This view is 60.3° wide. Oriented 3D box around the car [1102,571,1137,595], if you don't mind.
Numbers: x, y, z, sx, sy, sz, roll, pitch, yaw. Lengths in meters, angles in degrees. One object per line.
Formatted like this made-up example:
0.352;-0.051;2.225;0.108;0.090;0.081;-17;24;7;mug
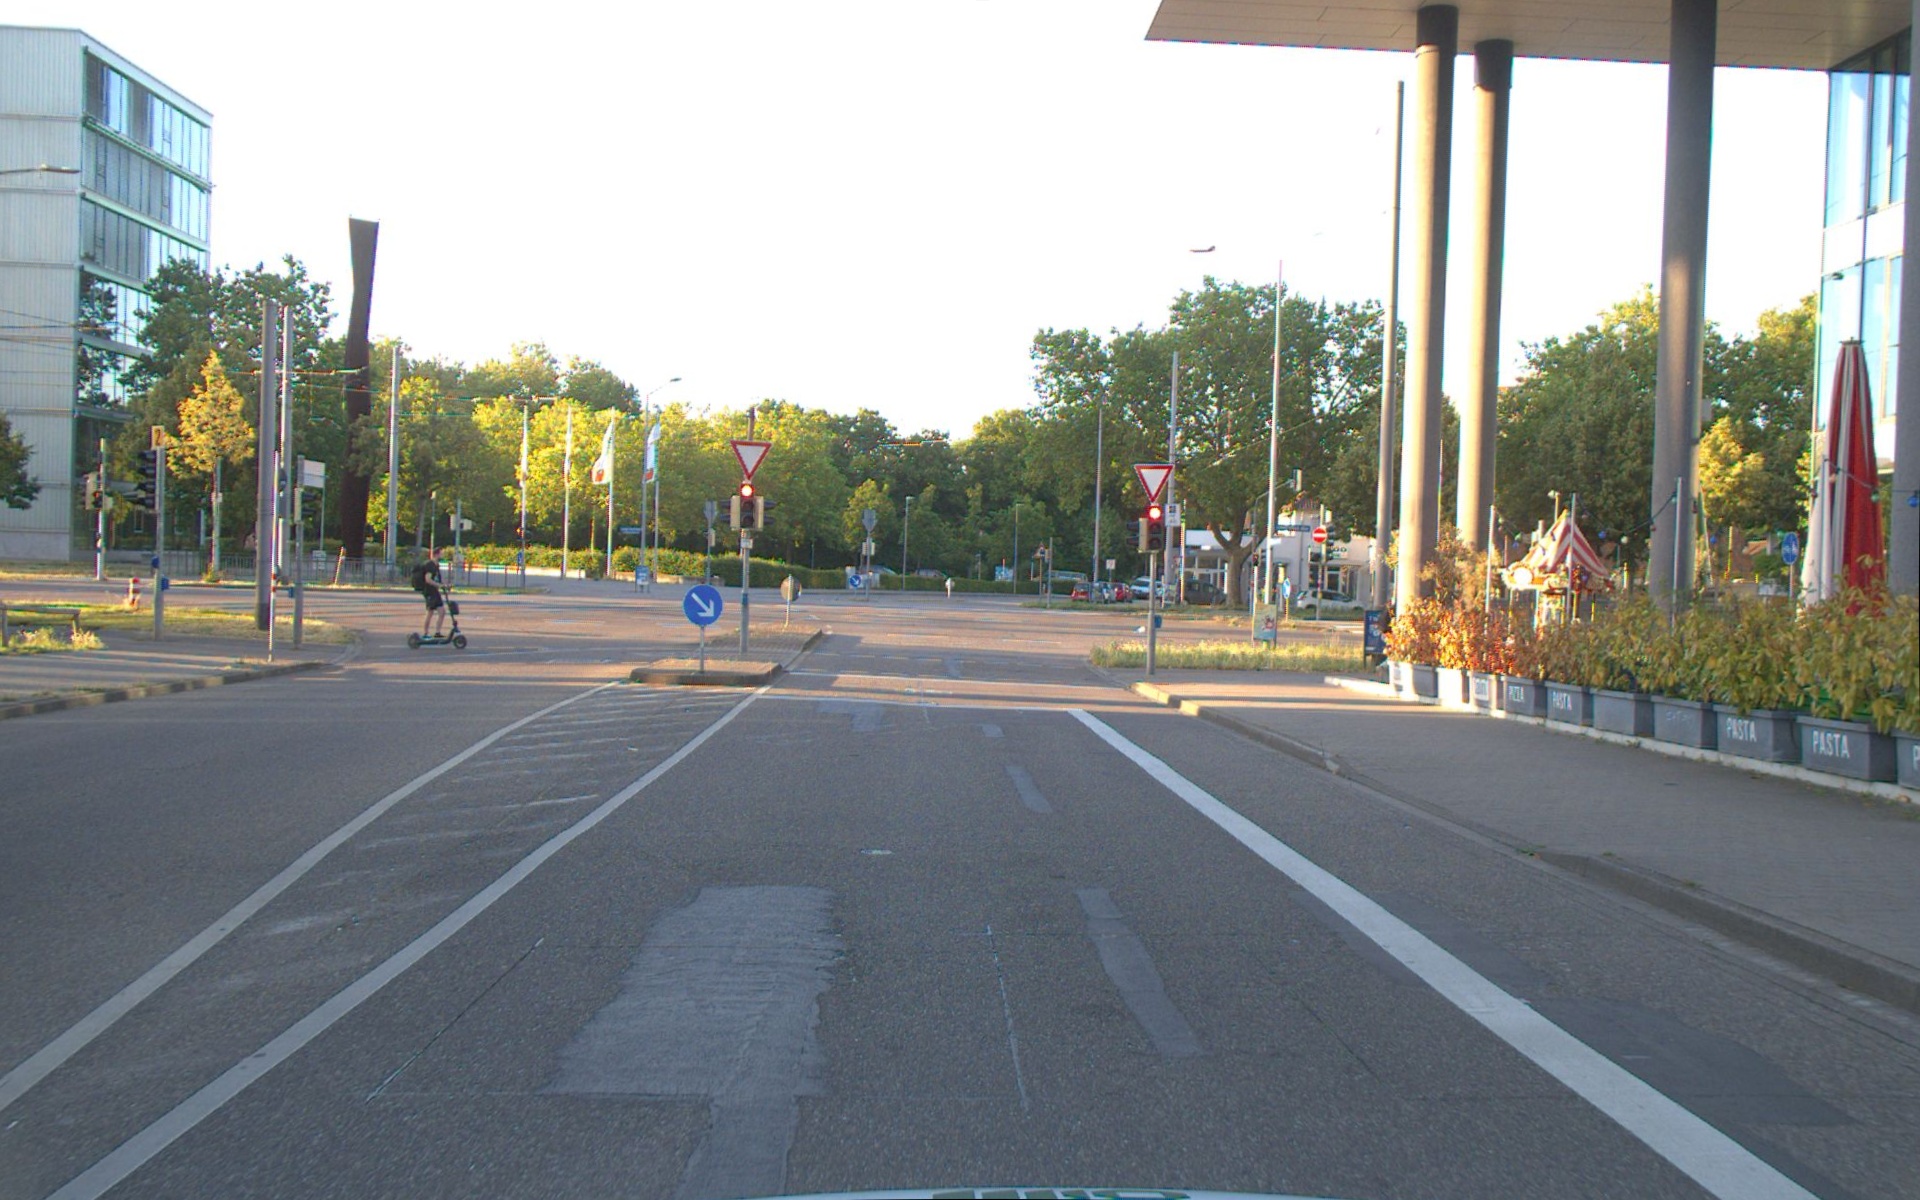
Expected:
11.597;-1.252;120.325;1.467;1.634;3.401;3;2;25;car

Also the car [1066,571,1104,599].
8.526;-1.022;112.652;1.467;1.791;3.401;3;2;25;car

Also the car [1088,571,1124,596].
10.299;-1.158;116.474;1.467;1.634;3.401;3;2;25;car

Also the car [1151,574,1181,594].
16.456;-1.304;131.985;1.467;1.503;3.082;3;2;25;car

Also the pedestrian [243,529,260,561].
-46.721;-3.614;109.060;0.681;2.048;0.699;2;2;18;pedestrian

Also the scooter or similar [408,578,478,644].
-9.922;0.203;31.759;1.190;1.221;0.503;2;2;-5;scooter or similar

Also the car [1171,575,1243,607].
15.837;-0.586;106.234;4.373;1.848;1.946;2;2;4;car

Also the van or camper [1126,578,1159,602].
16.338;-0.936;148.018;1.594;2.016;3.801;3;2;29;van or camper

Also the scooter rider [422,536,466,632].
-9.897;-0.311;31.749;0.692;1.813;0.442;1;2;-5;scooter rider

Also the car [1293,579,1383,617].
20.383;-0.101;89.356;4.375;1.848;1.946;2;2;1;car

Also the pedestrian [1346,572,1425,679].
7.659;0.453;29.796;1.036;1.865;0.892;1;2;-14;pedestrian

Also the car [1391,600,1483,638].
25.625;1.016;88.917;4.375;1.848;1.946;2;2;1;car

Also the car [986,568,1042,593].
4.576;-1.649;139.638;4.585;1.901;2.015;2;2;5;car
